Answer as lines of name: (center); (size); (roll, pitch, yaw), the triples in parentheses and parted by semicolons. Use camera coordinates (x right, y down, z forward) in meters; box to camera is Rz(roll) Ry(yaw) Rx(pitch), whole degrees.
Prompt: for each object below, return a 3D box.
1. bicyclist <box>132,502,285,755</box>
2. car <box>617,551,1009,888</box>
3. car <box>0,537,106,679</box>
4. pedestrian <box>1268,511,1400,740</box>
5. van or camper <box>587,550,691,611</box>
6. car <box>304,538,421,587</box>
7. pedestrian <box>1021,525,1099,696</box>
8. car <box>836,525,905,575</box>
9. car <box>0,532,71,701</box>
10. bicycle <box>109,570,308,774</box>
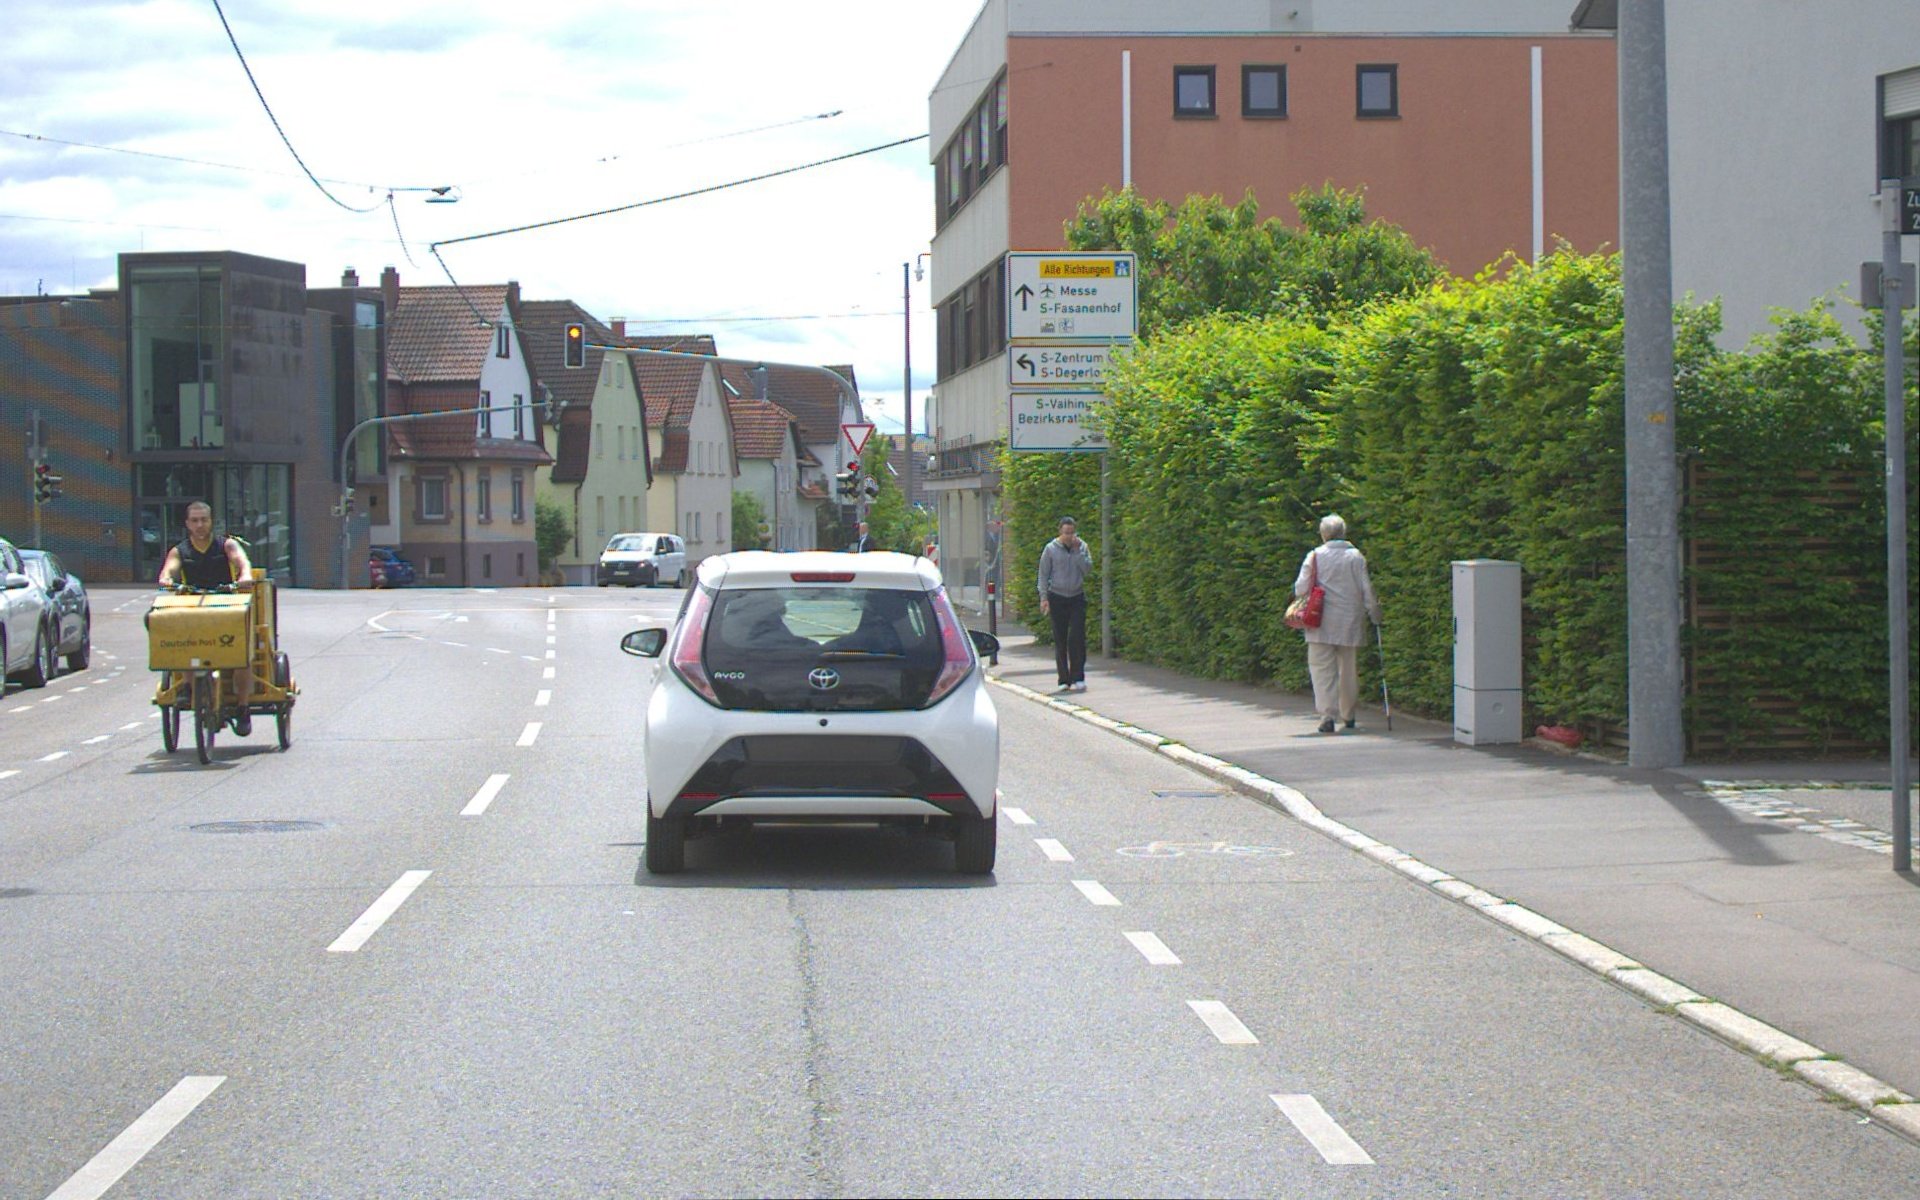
bicyclist: (-5.203, 0.180, 23.863); (0.792, 1.708, 1.209); (-1, 1, -1)
car: (-0.719, 0.506, 16.786); (1.697, 1.451, 3.299); (1, 1, -3)
car: (-11.387, 0.059, 40.587); (1.993, 1.582, 4.490); (-1, 1, -7)
pedestrian: (2.709, 0.177, 24.928); (0.798, 1.612, 0.653); (-2, 1, -4)
van or camper: (-10.560, -0.658, 113.588); (2.116, 1.919, 5.283); (1, 1, 9)
car: (-20.605, -1.287, 118.541); (3.615, 1.600, 1.691); (1, 1, 6)
pedestrian: (0.953, 0.092, 33.002); (0.602, 1.600, 0.836); (-2, 1, -4)
car: (-3.525, -1.973, 135.805); (1.994, 1.897, 3.999); (1, 1, 9)
car: (-10.556, 0.139, 35.410); (1.993, 1.645, 4.518); (-1, 1, -5)
bicycle: (-5.187, 0.462, 23.904); (0.863, 1.297, 2.662); (-1, 1, -2)
